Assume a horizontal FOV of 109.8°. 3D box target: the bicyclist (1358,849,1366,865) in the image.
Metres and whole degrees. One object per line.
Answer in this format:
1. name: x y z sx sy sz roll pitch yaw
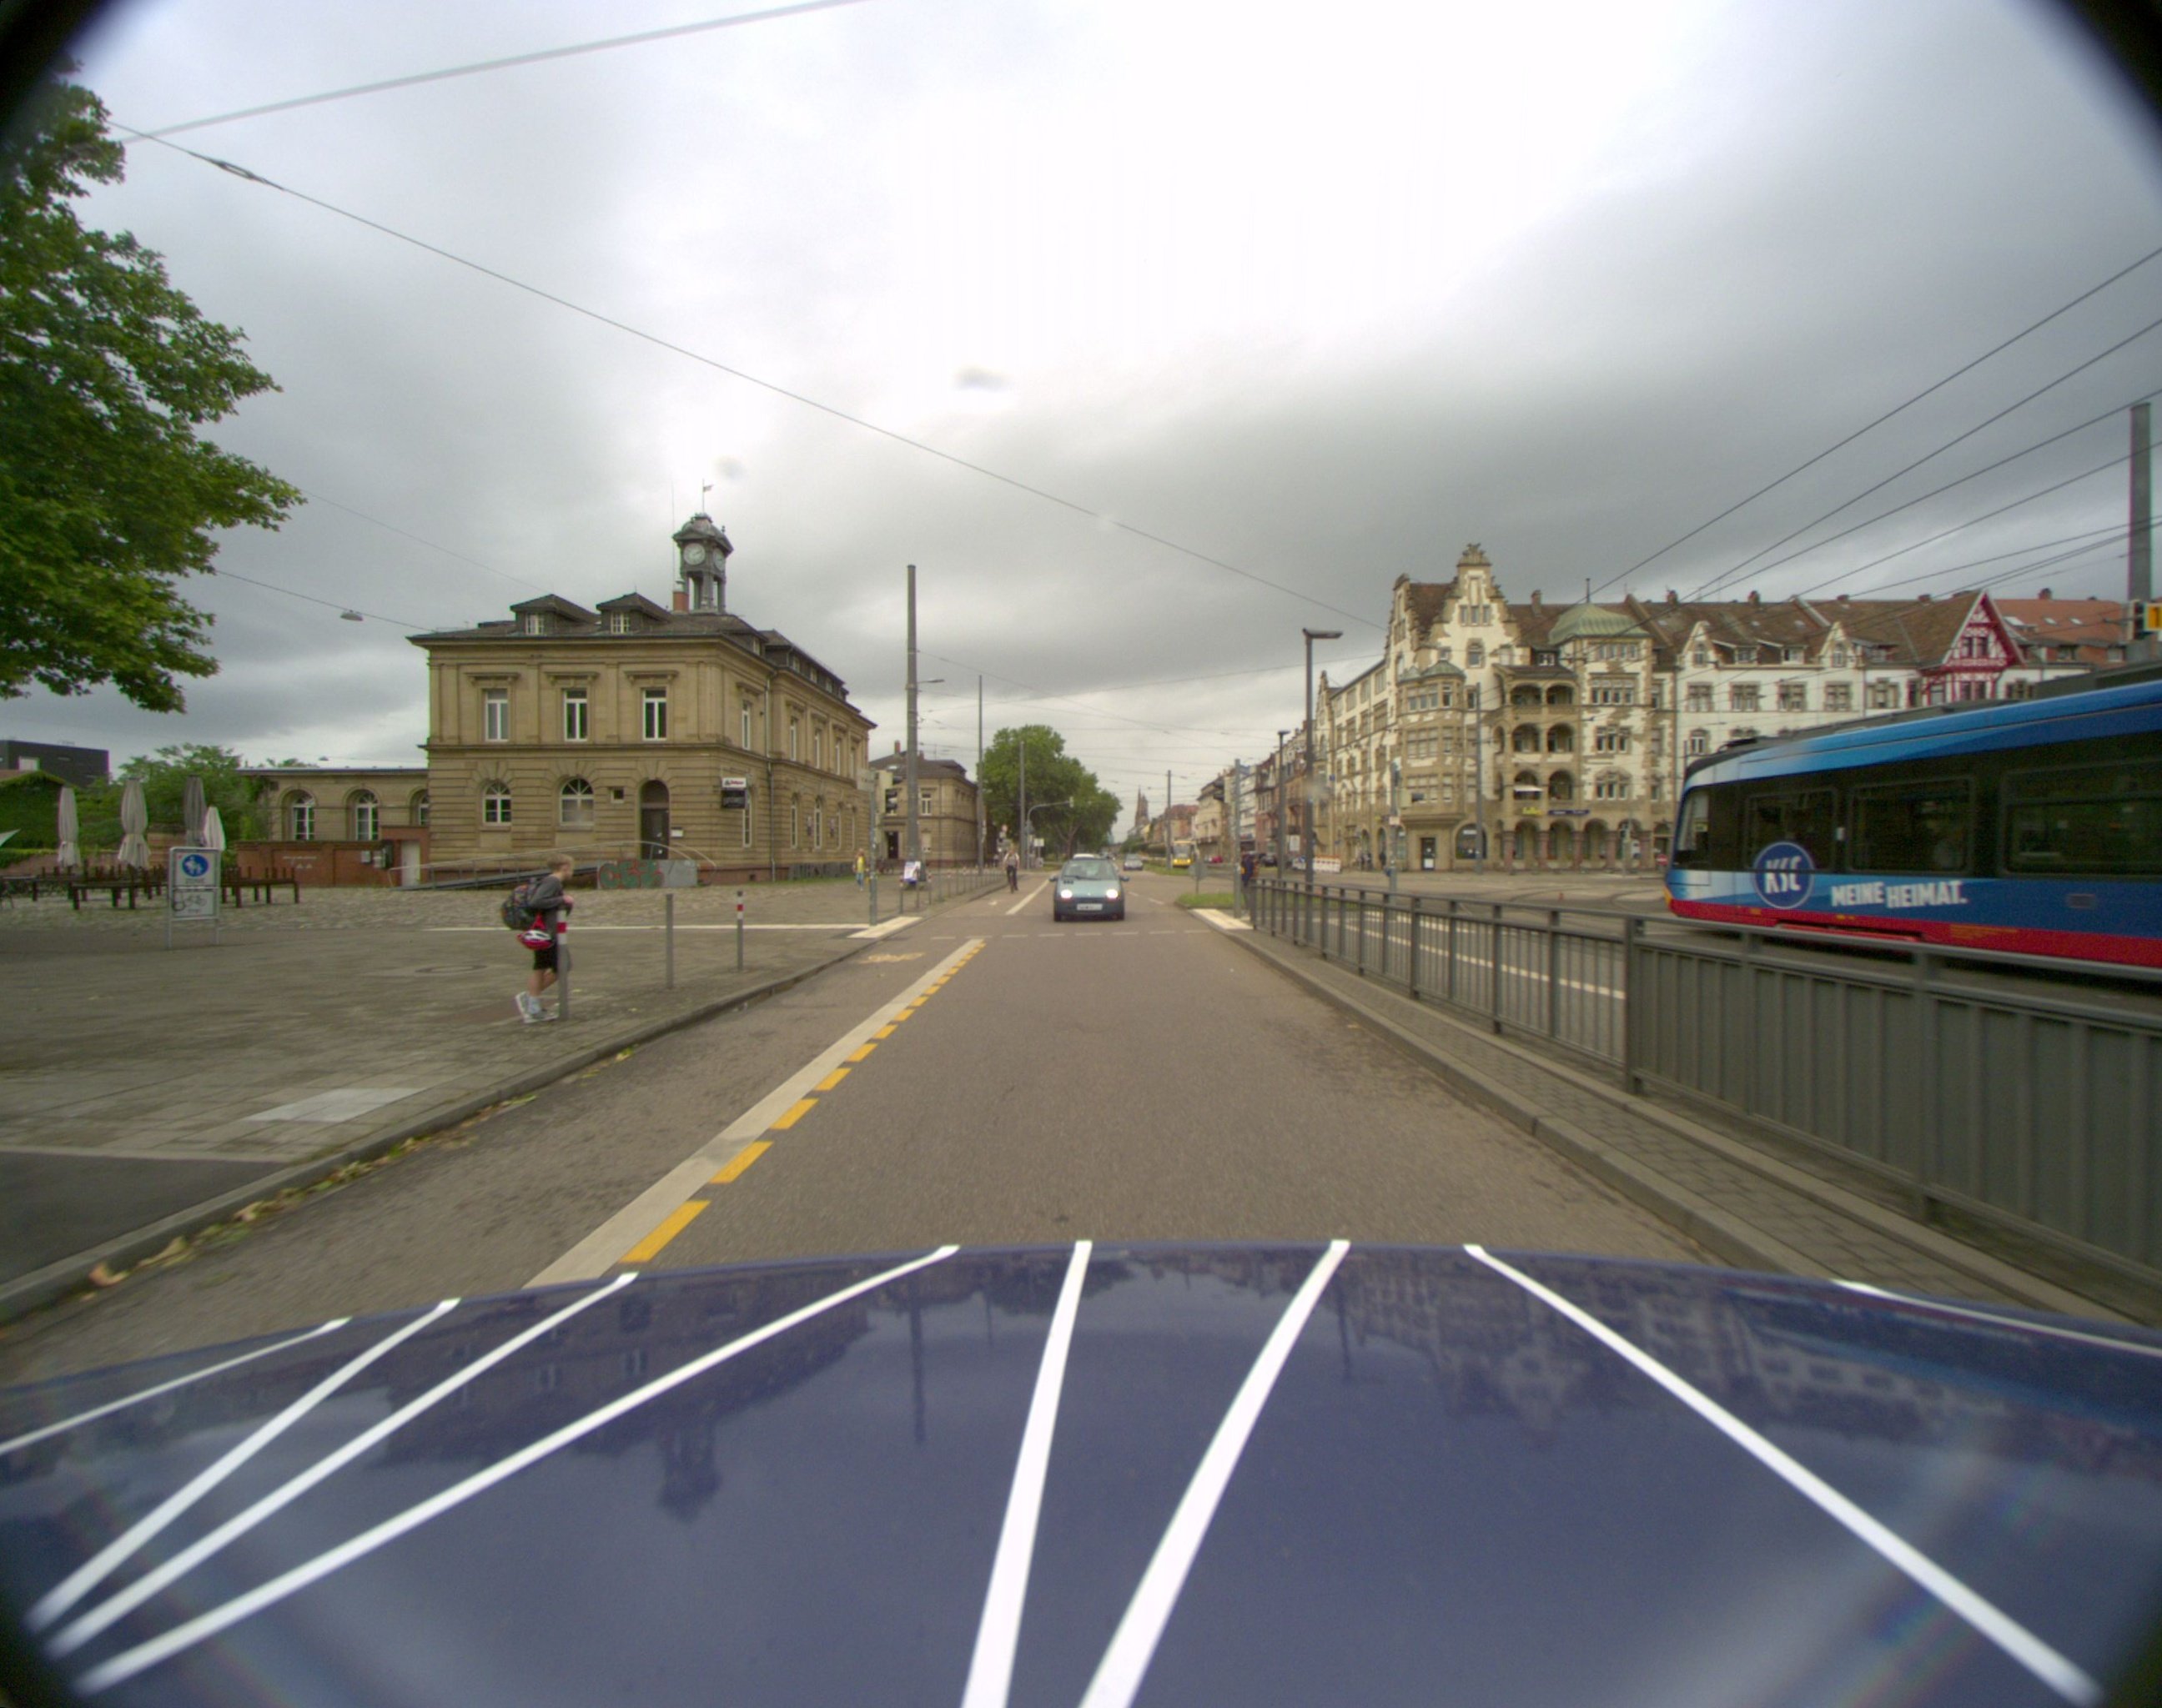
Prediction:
1. bicyclist: 25.043 0.295 67.733 0.707 1.435 0.974 0 0 18

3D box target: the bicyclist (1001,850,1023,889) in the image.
1. bicyclist: -2.893 0.654 32.005 0.812 1.591 1.189 0 1 -1

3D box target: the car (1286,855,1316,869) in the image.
1. car: 24.241 0.899 83.866 1.999 1.434 3.999 0 1 -1

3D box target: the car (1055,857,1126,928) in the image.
1. car: 0.292 0.839 18.288 1.534 1.464 3.353 1 1 3

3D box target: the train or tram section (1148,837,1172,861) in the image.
1. train or tram section: 11.854 -0.863 114.764 2.651 3.417 13.618 0 1 2

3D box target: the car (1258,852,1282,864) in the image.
1. car: 23.972 0.533 96.529 1.999 1.434 3.999 0 1 -1

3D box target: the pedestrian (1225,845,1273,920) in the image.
1. pedestrian: 3.762 0.621 17.041 0.862 1.633 0.651 -1 2 -40

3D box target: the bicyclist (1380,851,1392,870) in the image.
1. bicyclist: 23.707 0.503 59.051 0.750 1.511 0.766 0 -1 8

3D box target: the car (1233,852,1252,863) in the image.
1. car: 24.594 0.584 115.965 1.999 1.587 3.999 0 1 -1

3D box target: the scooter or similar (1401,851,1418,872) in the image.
1. scooter or similar: 26.793 0.579 62.020 0.565 1.706 1.830 0 1 0

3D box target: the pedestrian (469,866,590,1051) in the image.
1. pedestrian: -4.854 0.880 6.708 0.552 1.520 0.639 1 2 19

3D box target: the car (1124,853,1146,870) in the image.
1. car: 5.211 0.698 73.878 1.869 1.630 3.775 0 1 0

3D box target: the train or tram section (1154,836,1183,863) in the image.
1. train or tram section: 11.490 -0.688 101.140 2.651 3.417 13.618 0 1 2

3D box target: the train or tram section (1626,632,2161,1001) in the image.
1. train or tram section: 12.065 -0.389 8.993 2.862 3.619 11.763 0 1 1

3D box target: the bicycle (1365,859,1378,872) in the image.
1. bicycle: 24.534 0.962 64.238 0.723 1.030 1.911 0 -1 11

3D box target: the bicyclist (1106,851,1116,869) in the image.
1. bicyclist: 2.775 0.553 70.250 0.812 1.587 0.890 0 -1 0

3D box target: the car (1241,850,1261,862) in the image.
1. car: 24.401 0.256 109.149 1.999 1.587 3.999 0 1 -1

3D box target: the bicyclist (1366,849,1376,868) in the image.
1. bicyclist: 24.556 0.420 64.342 0.723 1.596 0.860 0 0 11

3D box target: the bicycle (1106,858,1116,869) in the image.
1. bicycle: 2.784 0.864 70.072 0.812 0.939 2.147 0 -2 0

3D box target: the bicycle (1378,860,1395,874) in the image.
1. bicycle: 23.711 1.001 59.053 0.750 1.030 1.917 0 -1 8

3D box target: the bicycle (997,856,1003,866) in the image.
1. bicycle: -9.524 0.824 89.274 0.677 1.158 2.112 0 1 -7

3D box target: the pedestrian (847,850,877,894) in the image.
1. pedestrian: -8.618 0.693 29.922 0.720 1.668 1.000 0 1 11

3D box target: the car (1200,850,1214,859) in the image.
1. car: 25.343 0.079 152.565 1.999 1.587 3.999 0 1 -1

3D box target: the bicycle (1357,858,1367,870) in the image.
1. bicycle: 25.043 0.894 67.742 0.707 1.031 2.025 0 0 18

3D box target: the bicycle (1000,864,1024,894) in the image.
1. bicycle: -2.897 1.032 32.042 0.814 1.163 2.276 0 1 0

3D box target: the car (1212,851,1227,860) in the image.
1. car: 25.659 0.217 140.947 1.999 1.587 3.999 0 1 -1

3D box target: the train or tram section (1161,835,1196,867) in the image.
1. train or tram section: 11.093 -0.466 87.559 2.651 3.417 13.618 0 1 2

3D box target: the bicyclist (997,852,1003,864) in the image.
1. bicyclist: -9.494 0.436 89.265 0.695 1.392 0.815 0 1 -8

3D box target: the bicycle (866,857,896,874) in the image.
1. bicycle: -13.193 0.759 50.018 1.859 1.072 0.546 3 1 -17

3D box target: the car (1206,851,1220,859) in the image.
1. car: 25.534 0.160 147.189 1.999 1.587 3.999 0 1 -1

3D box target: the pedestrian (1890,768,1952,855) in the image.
1. pedestrian: 18.369 -0.906 16.622 0.856 1.857 0.746 -1 2 -33

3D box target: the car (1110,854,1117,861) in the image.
1. car: 9.815 0.948 228.012 1.999 2.002 3.999 0 1 0

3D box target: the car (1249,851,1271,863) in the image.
1. car: 24.124 0.360 102.615 1.999 1.587 3.999 0 1 -1
